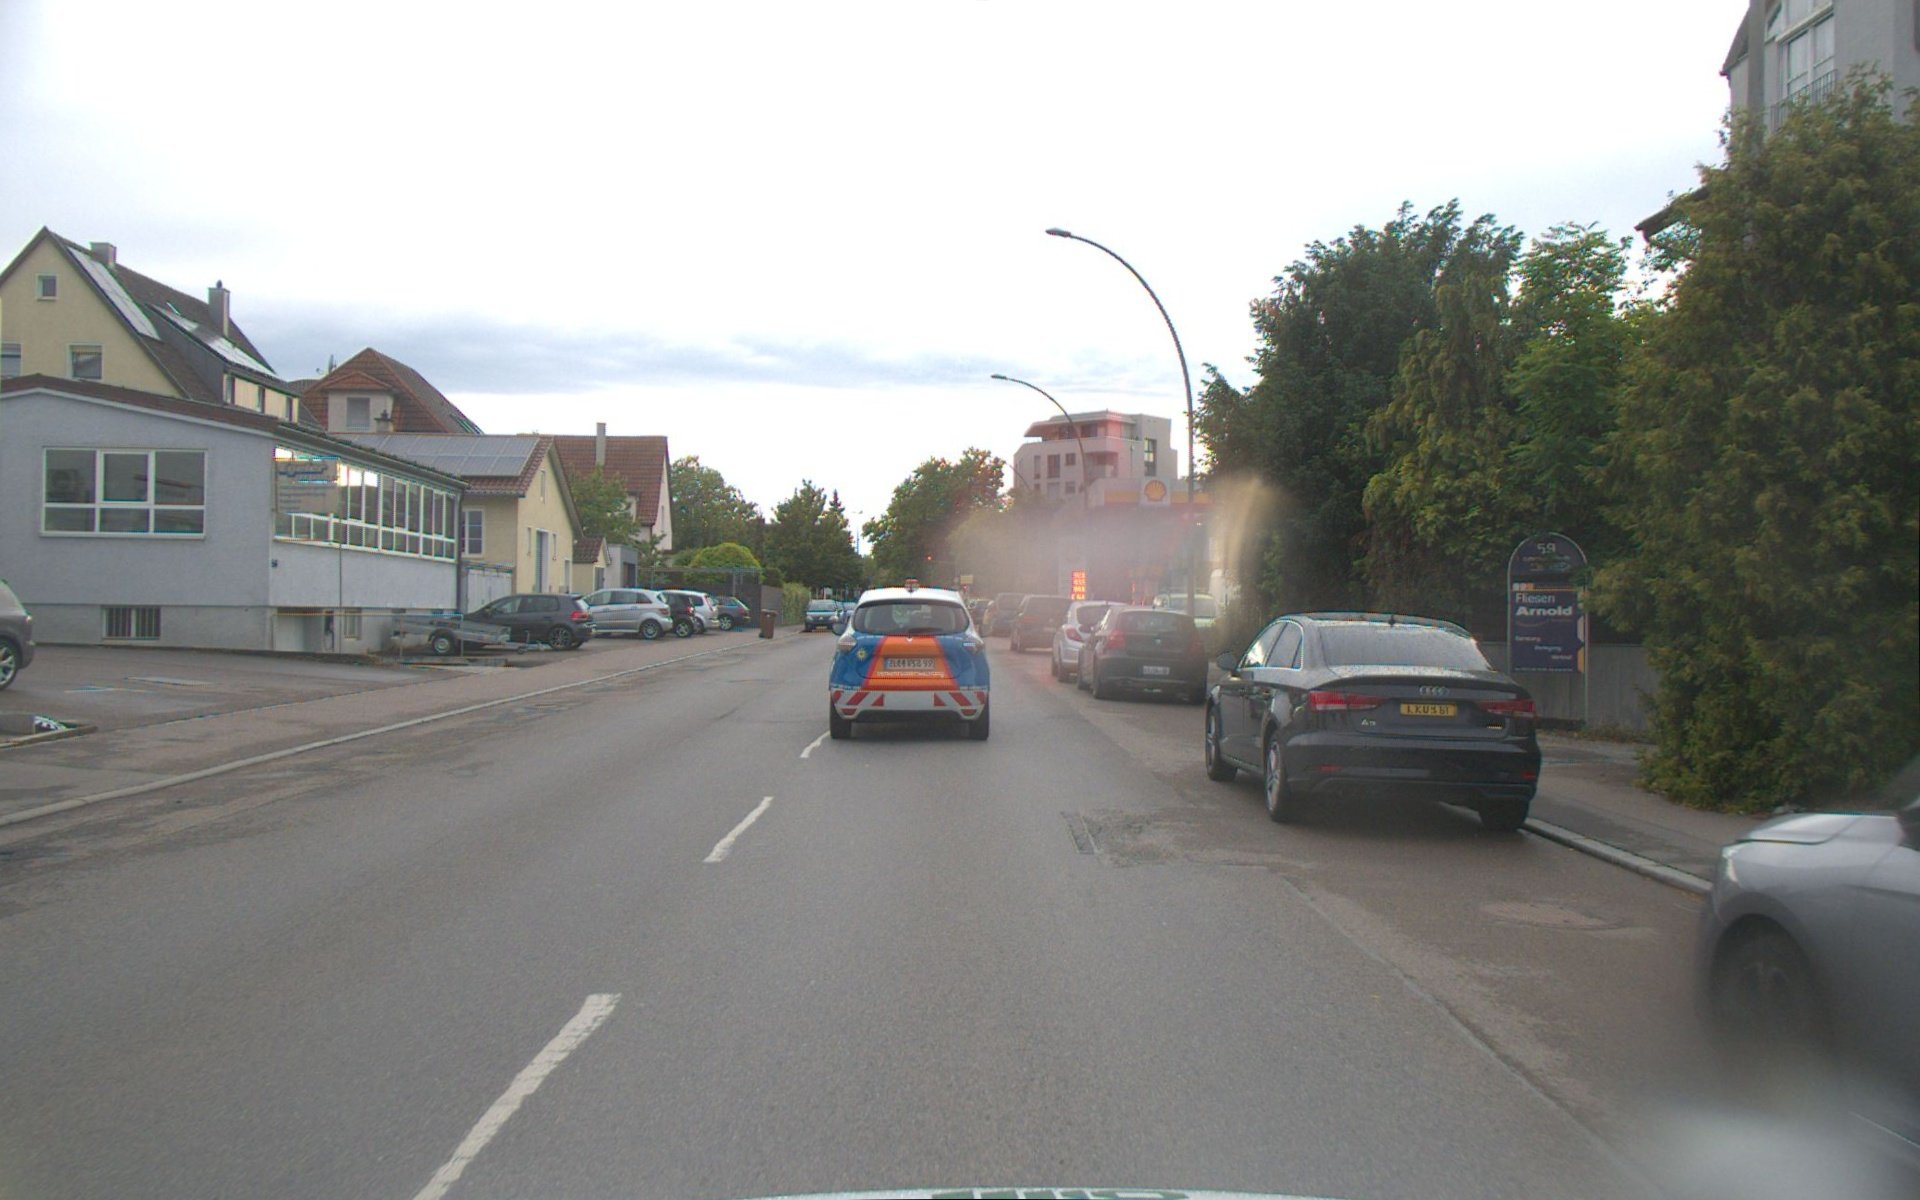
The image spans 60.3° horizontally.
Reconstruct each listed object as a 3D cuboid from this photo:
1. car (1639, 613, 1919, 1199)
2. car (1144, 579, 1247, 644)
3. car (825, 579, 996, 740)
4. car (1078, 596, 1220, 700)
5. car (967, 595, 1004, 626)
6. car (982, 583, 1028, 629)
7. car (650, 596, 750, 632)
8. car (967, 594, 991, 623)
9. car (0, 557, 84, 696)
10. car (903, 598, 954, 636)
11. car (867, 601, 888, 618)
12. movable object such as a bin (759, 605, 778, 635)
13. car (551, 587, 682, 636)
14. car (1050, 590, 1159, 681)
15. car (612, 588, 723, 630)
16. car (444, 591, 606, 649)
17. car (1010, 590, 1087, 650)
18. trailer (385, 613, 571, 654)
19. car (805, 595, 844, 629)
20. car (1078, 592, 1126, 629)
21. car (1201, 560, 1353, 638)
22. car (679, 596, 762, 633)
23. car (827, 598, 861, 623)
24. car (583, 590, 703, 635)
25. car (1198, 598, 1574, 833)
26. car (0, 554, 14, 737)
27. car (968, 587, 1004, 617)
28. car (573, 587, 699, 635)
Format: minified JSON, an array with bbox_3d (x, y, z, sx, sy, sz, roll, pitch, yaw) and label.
[{"bbox_3d":[3.078,0.789,3.309,1.619,1.465,4.041,0,0,-3],"label":"car"},{"bbox_3d":[6.457,0.295,45.810,1.955,1.712,3.996,0,0,-5],"label":"car"},{"bbox_3d":[-0.526,0.581,18.618,1.710,1.609,3.999,0,0,-1],"label":"car"},{"bbox_3d":[2.885,0.694,25.914,1.702,1.427,3.718,2,0,-1],"label":"car"},{"bbox_3d":[1.178,0.494,79.191,1.622,1.426,3.800,1,0,-1],"label":"car"},{"bbox_3d":[1.856,0.260,69.044,1.623,1.768,4.443,3,0,-1],"label":"car"},{"bbox_3d":[-11.028,0.589,70.313,4.003,1.438,1.713,1,0,-4],"label":"car"},{"bbox_3d":[1.480,0.645,128.253,1.741,2.064,4.755,2,1,2],"label":"car"},{"bbox_3d":[-12.071,0.225,18.410,1.782,1.556,4.003,6,0,14],"label":"car"},{"bbox_3d":[-1.398,0.757,75.158,1.952,1.601,4.002,2,1,3],"label":"car"},{"bbox_3d":[-7.148,0.818,144.075,1.593,1.458,3.684,0,0,1],"label":"car"},{"bbox_3d":[-7.438,0.767,64.366,0.584,1.075,0.687,5,1,-1],"label":"movable object such as a bin"},{"bbox_3d":[-11.179,0.354,54.033,4.006,1.559,1.997,0,0,-7],"label":"car"},{"bbox_3d":[2.648,0.619,31.034,1.702,1.528,3.881,2,0,1],"label":"car"},{"bbox_3d":[-10.964,0.321,62.264,4.006,1.540,1.881,0,0,-7],"label":"car"},{"bbox_3d":[-11.381,0.507,43.472,3.795,1.463,1.767,0,0,-2],"label":"car"},{"bbox_3d":[2.480,0.529,47.215,1.953,1.624,3.999,0,0,-1],"label":"car"},{"bbox_3d":[-11.848,0.817,40.861,4.113,0.959,1.793,0,0,-4],"label":"trailer"},{"bbox_3d":[-6.448,0.561,79.148,1.576,1.532,3.706,-1,0,-1],"label":"car"},{"bbox_3d":[6.977,0.507,81.609,1.783,1.790,3.997,0,0,-3],"label":"car"},{"bbox_3d":[10.824,-0.031,56.497,4.723,2.564,2.232,0,0,-23],"label":"car"},{"bbox_3d":[-10.579,0.639,73.186,3.516,1.482,1.755,2,-1,-6],"label":"car"},{"bbox_3d":[-6.814,0.595,97.335,1.770,1.427,3.944,-1,0,-1],"label":"car"},{"bbox_3d":[-11.155,0.438,58.363,4.006,1.529,1.754,0,0,-7],"label":"car"},{"bbox_3d":[2.967,0.721,12.424,1.716,1.443,4.109,0,0,-1],"label":"car"},{"bbox_3d":[-10.687,0.380,14.215,3.907,1.676,1.999,1,0,-3],"label":"car"},{"bbox_3d":[1.552,0.087,100.503,2.048,1.691,4.558,2,1,-1],"label":"car"},{"bbox_3d":[-11.015,0.368,56.422,4.004,1.559,1.812,0,0,-5],"label":"car"}]
